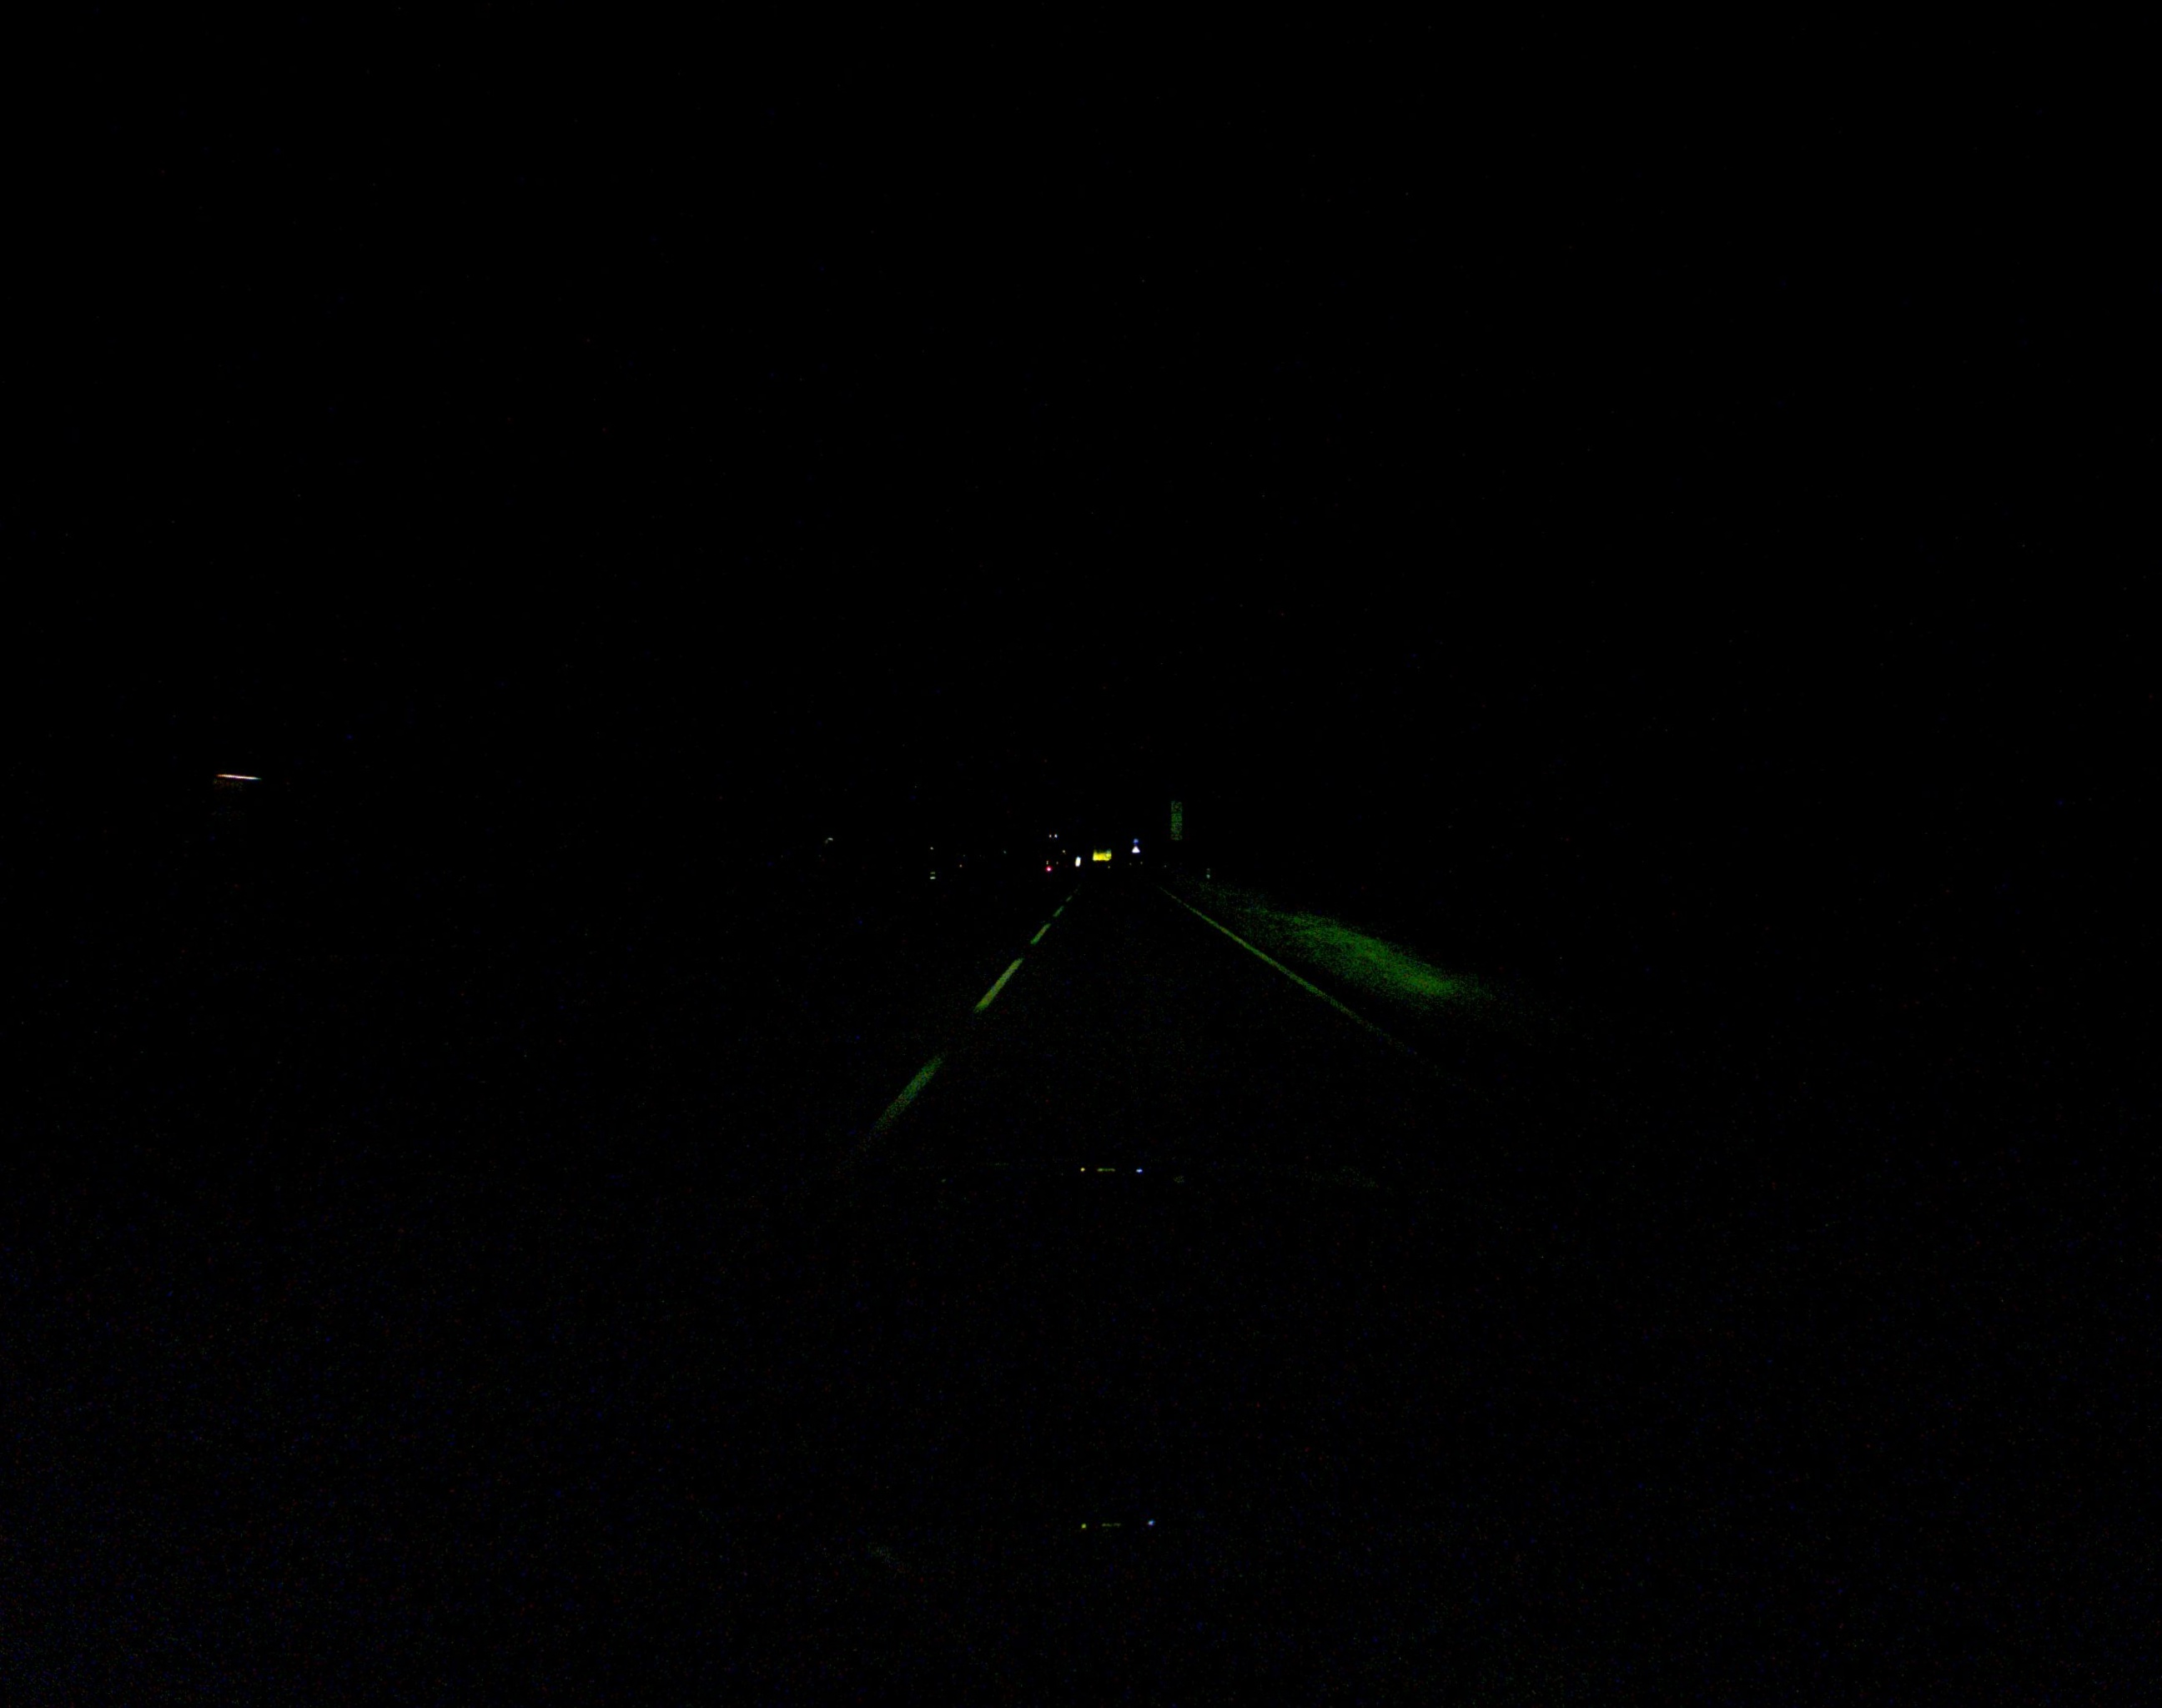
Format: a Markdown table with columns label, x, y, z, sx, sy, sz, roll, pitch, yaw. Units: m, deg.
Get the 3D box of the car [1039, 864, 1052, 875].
| label | x | y | z | sx | sy | sz | roll | pitch | yaw |
| --- | --- | --- | --- | --- | --- | --- | --- | --- | --- |
| car | -6.801 | 2.955 | 154.985 | 1.992 | 2.014 | 3.988 | 2 | -3 | -8 |
